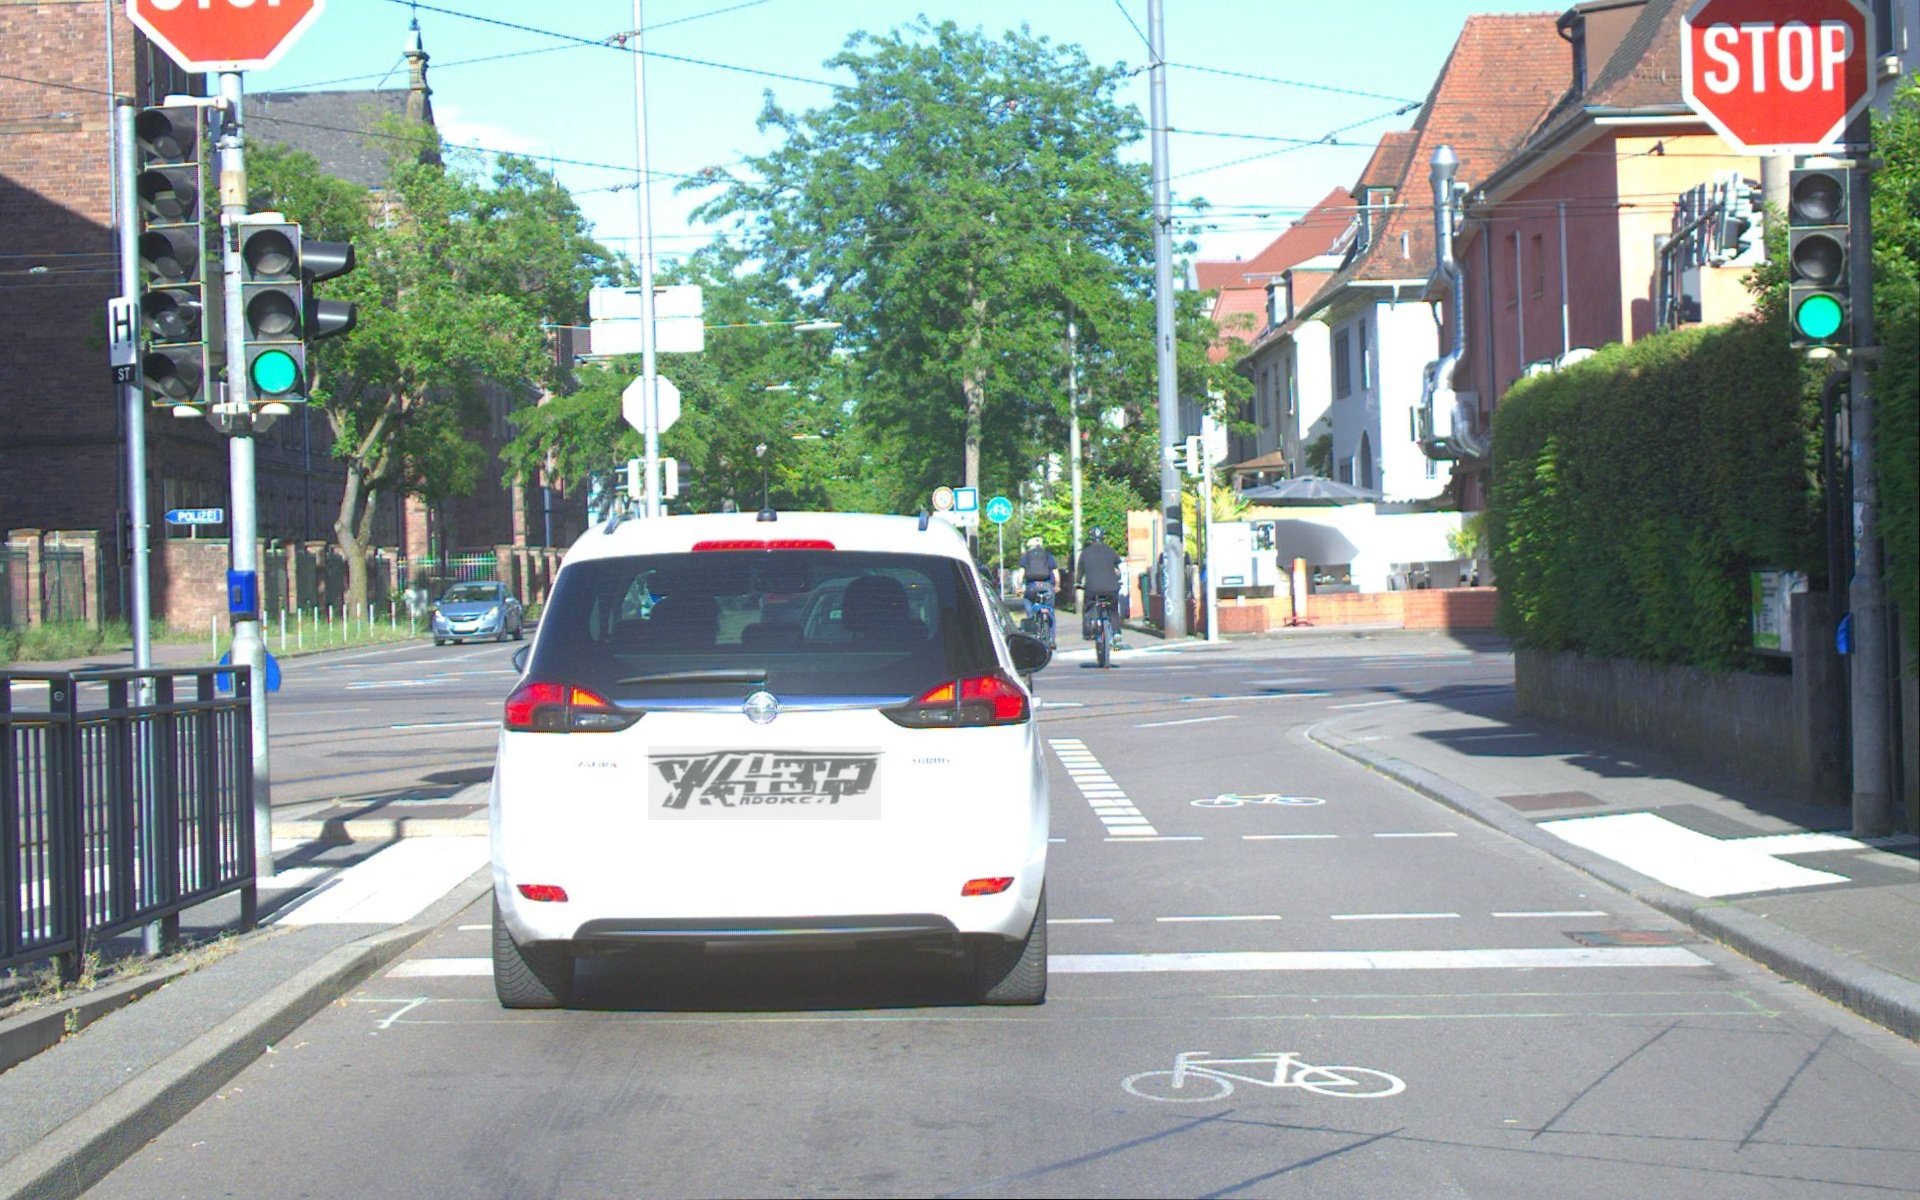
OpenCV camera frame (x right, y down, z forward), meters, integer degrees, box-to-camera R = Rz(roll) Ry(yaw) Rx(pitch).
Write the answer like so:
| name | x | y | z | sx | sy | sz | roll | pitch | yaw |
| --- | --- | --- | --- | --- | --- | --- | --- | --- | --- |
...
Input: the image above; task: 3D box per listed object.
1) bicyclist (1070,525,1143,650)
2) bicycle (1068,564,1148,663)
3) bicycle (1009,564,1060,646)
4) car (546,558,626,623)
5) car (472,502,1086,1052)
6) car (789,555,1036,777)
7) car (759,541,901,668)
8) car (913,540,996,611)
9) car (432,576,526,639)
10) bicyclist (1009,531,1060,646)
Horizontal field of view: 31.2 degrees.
| name | x | y | z | sx | sy | sz | roll | pitch | yaw |
| --- | --- | --- | --- | --- | --- | --- | --- | --- | --- |
| bicyclist | 1.780 | -0.149 | 41.904 | 0.821 | 1.496 | 0.934 | -1 | 0 | -1 |
| bicycle | 1.780 | 0.155 | 41.667 | 0.829 | 1.150 | 2.095 | -1 | 0 | -1 |
| bicycle | 1.077 | 0.062 | 49.397 | 0.685 | 1.153 | 1.619 | -1 | 0 | 2 |
| car | -10.613 | -0.270 | 97.707 | 1.892 | 1.777 | 3.881 | -1 | 0 | -1 |
| car | -0.537 | 0.526 | 12.388 | 1.835 | 1.636 | 3.918 | -1 | 0 | 0 |
| car | -0.274 | 0.415 | 24.850 | 1.586 | 1.415 | 3.900 | -2 | 1 | 2 |
| car | -1.731 | 0.047 | 46.878 | 1.776 | 1.626 | 3.880 | -1 | 0 | 0 |
| car | -0.109 | -0.589 | 82.346 | 1.776 | 1.626 | 3.880 | -1 | 0 | 2 |
| car | -11.378 | 0.156 | 81.463 | 1.581 | 1.436 | 3.584 | -1 | 0 | 2 |
| bicyclist | 1.072 | -0.163 | 49.328 | 0.685 | 1.629 | 1.015 | -1 | 0 | 2 |
